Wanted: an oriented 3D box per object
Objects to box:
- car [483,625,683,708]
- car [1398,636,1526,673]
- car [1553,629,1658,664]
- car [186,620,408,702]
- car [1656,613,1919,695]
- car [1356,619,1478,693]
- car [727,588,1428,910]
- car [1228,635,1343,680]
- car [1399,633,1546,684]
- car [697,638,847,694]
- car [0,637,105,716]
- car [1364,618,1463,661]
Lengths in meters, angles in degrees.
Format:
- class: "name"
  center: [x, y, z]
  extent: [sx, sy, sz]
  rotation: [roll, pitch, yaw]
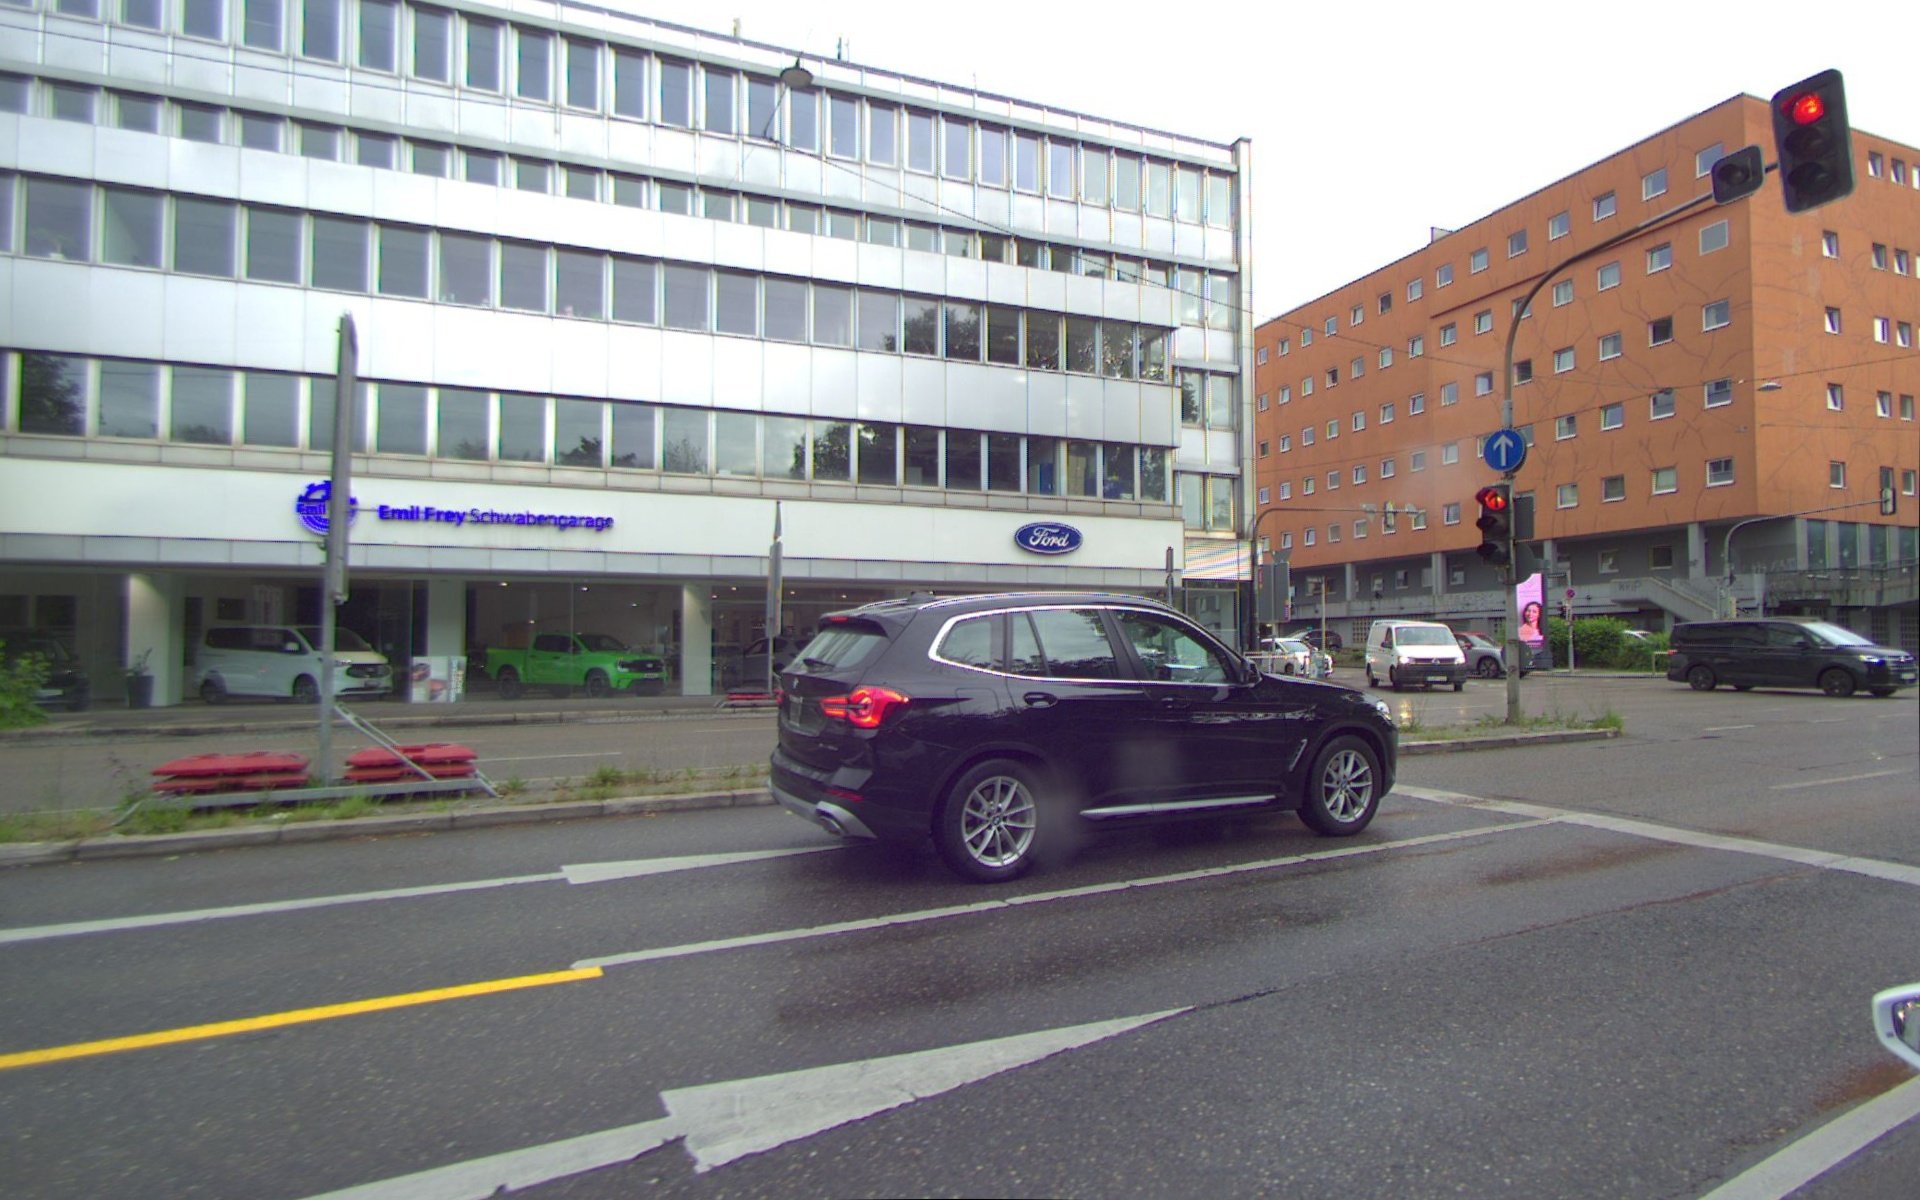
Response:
- class: "car"
  center: [-9.987, 1.786, 26.576]
  extent: [5.109, 2.037, 1.998]
  rotation: [-3, -4, 26]
- class: "car"
  center: [21.170, 2.300, 42.521]
  extent: [1.757, 1.470, 4.572]
  rotation: [2, -3, -36]
- class: "car"
  center: [31.707, 2.313, 49.494]
  extent: [1.865, 1.639, 4.011]
  rotation: [1, -4, -20]
- class: "car"
  center: [-16.620, 1.562, 25.221]
  extent: [4.889, 1.922, 2.001]
  rotation: [-2, -4, 18]
- class: "car"
  center: [20.970, 1.405, 25.599]
  extent: [1.970, 1.869, 5.070]
  rotation: [1, -4, -21]
- class: "car"
  center: [13.386, 1.681, 29.769]
  extent: [1.959, 1.957, 5.218]
  rotation: [-1, -4, 10]
- class: "car"
  center: [0.905, 0.752, 7.006]
  extent: [4.611, 1.619, 1.939]
  rotation: [0, 0, -28]
- class: "car"
  center: [12.720, 2.300, 39.641]
  extent: [1.967, 1.659, 4.811]
  rotation: [0, -4, -16]
- class: "car"
  center: [18.419, 2.047, 36.330]
  extent: [1.858, 1.659, 4.491]
  rotation: [1, -1, -29]
- class: "car"
  center: [-5.752, 1.994, 30.268]
  extent: [1.987, 1.540, 5.140]
  rotation: [3, -5, -43]
- class: "car"
  center: [-20.577, 1.659, 21.786]
  extent: [3.932, 1.594, 1.996]
  rotation: [-3, -4, 32]
- class: "car"
  center: [23.987, 2.092, 53.180]
  extent: [4.782, 2.041, 1.989]
  rotation: [2, 1, -23]
